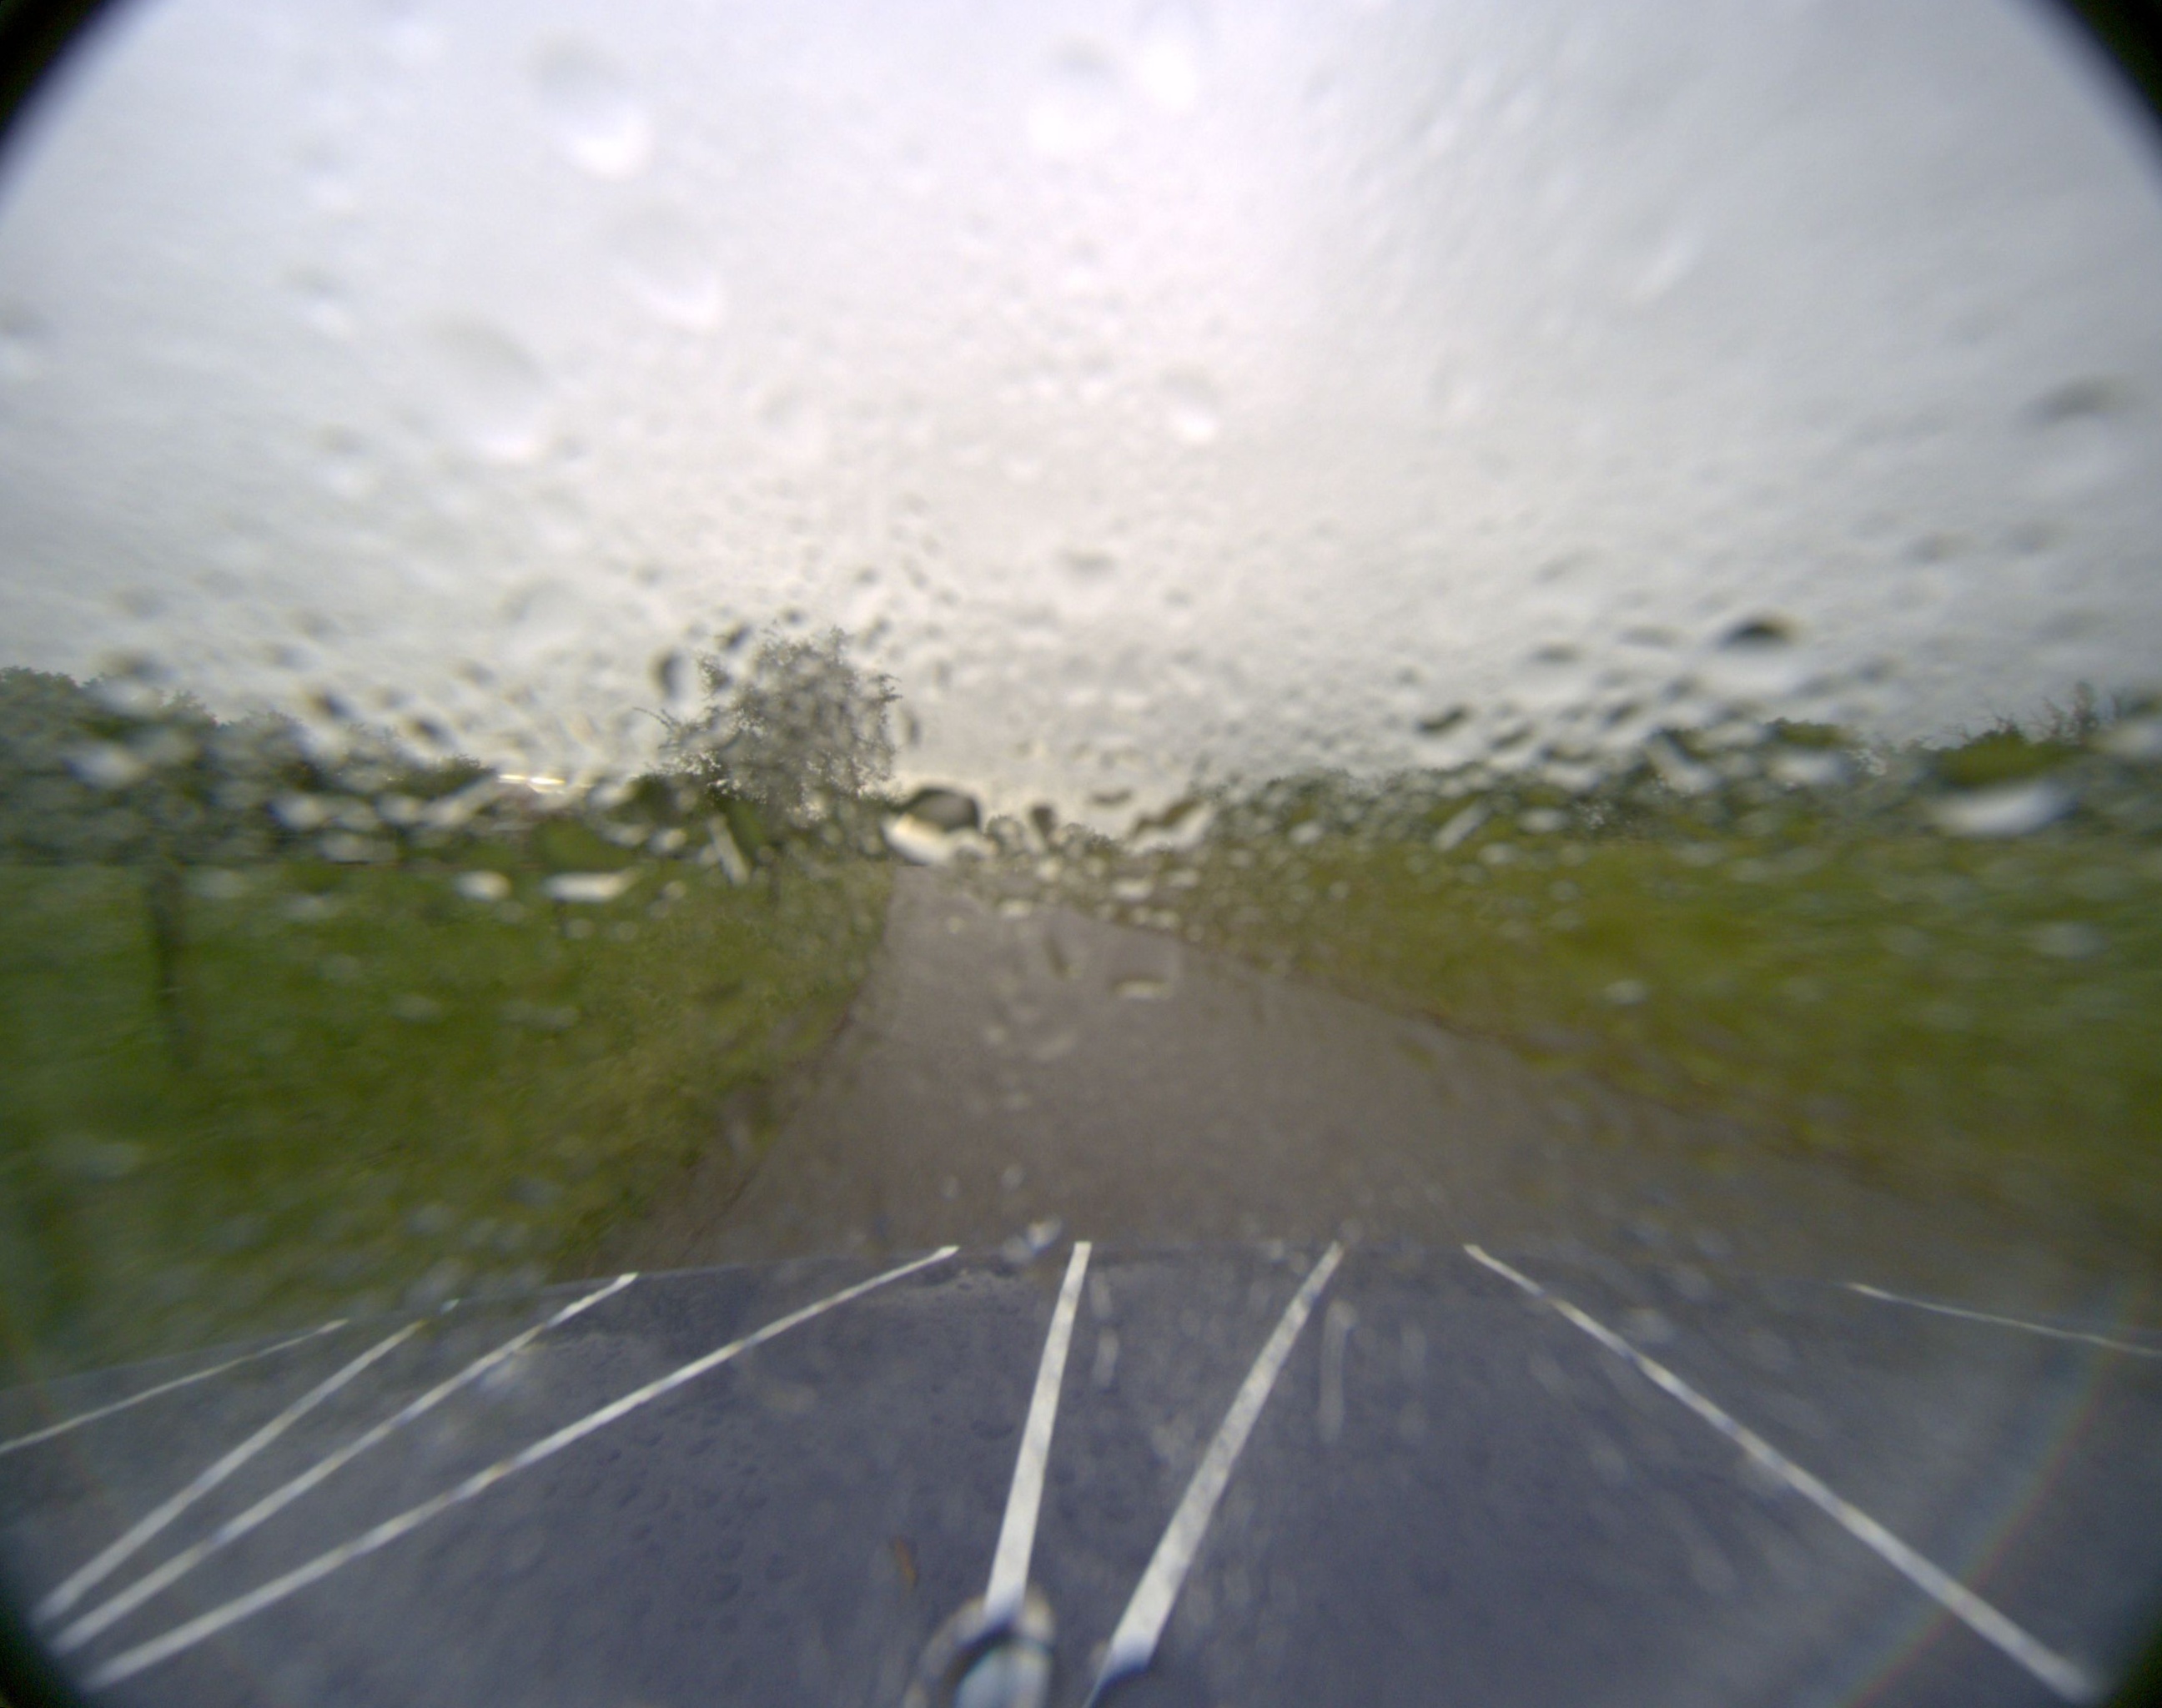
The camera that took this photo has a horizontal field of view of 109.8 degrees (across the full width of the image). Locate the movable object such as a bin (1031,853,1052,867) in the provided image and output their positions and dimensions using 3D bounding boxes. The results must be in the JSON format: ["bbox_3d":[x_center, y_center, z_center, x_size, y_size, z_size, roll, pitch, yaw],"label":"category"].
[{"bbox_3d":[-4.451,0.660,85.615,1.685,1.562,3.533,0,1,-14],"label":"movable object such as a bin"}]
